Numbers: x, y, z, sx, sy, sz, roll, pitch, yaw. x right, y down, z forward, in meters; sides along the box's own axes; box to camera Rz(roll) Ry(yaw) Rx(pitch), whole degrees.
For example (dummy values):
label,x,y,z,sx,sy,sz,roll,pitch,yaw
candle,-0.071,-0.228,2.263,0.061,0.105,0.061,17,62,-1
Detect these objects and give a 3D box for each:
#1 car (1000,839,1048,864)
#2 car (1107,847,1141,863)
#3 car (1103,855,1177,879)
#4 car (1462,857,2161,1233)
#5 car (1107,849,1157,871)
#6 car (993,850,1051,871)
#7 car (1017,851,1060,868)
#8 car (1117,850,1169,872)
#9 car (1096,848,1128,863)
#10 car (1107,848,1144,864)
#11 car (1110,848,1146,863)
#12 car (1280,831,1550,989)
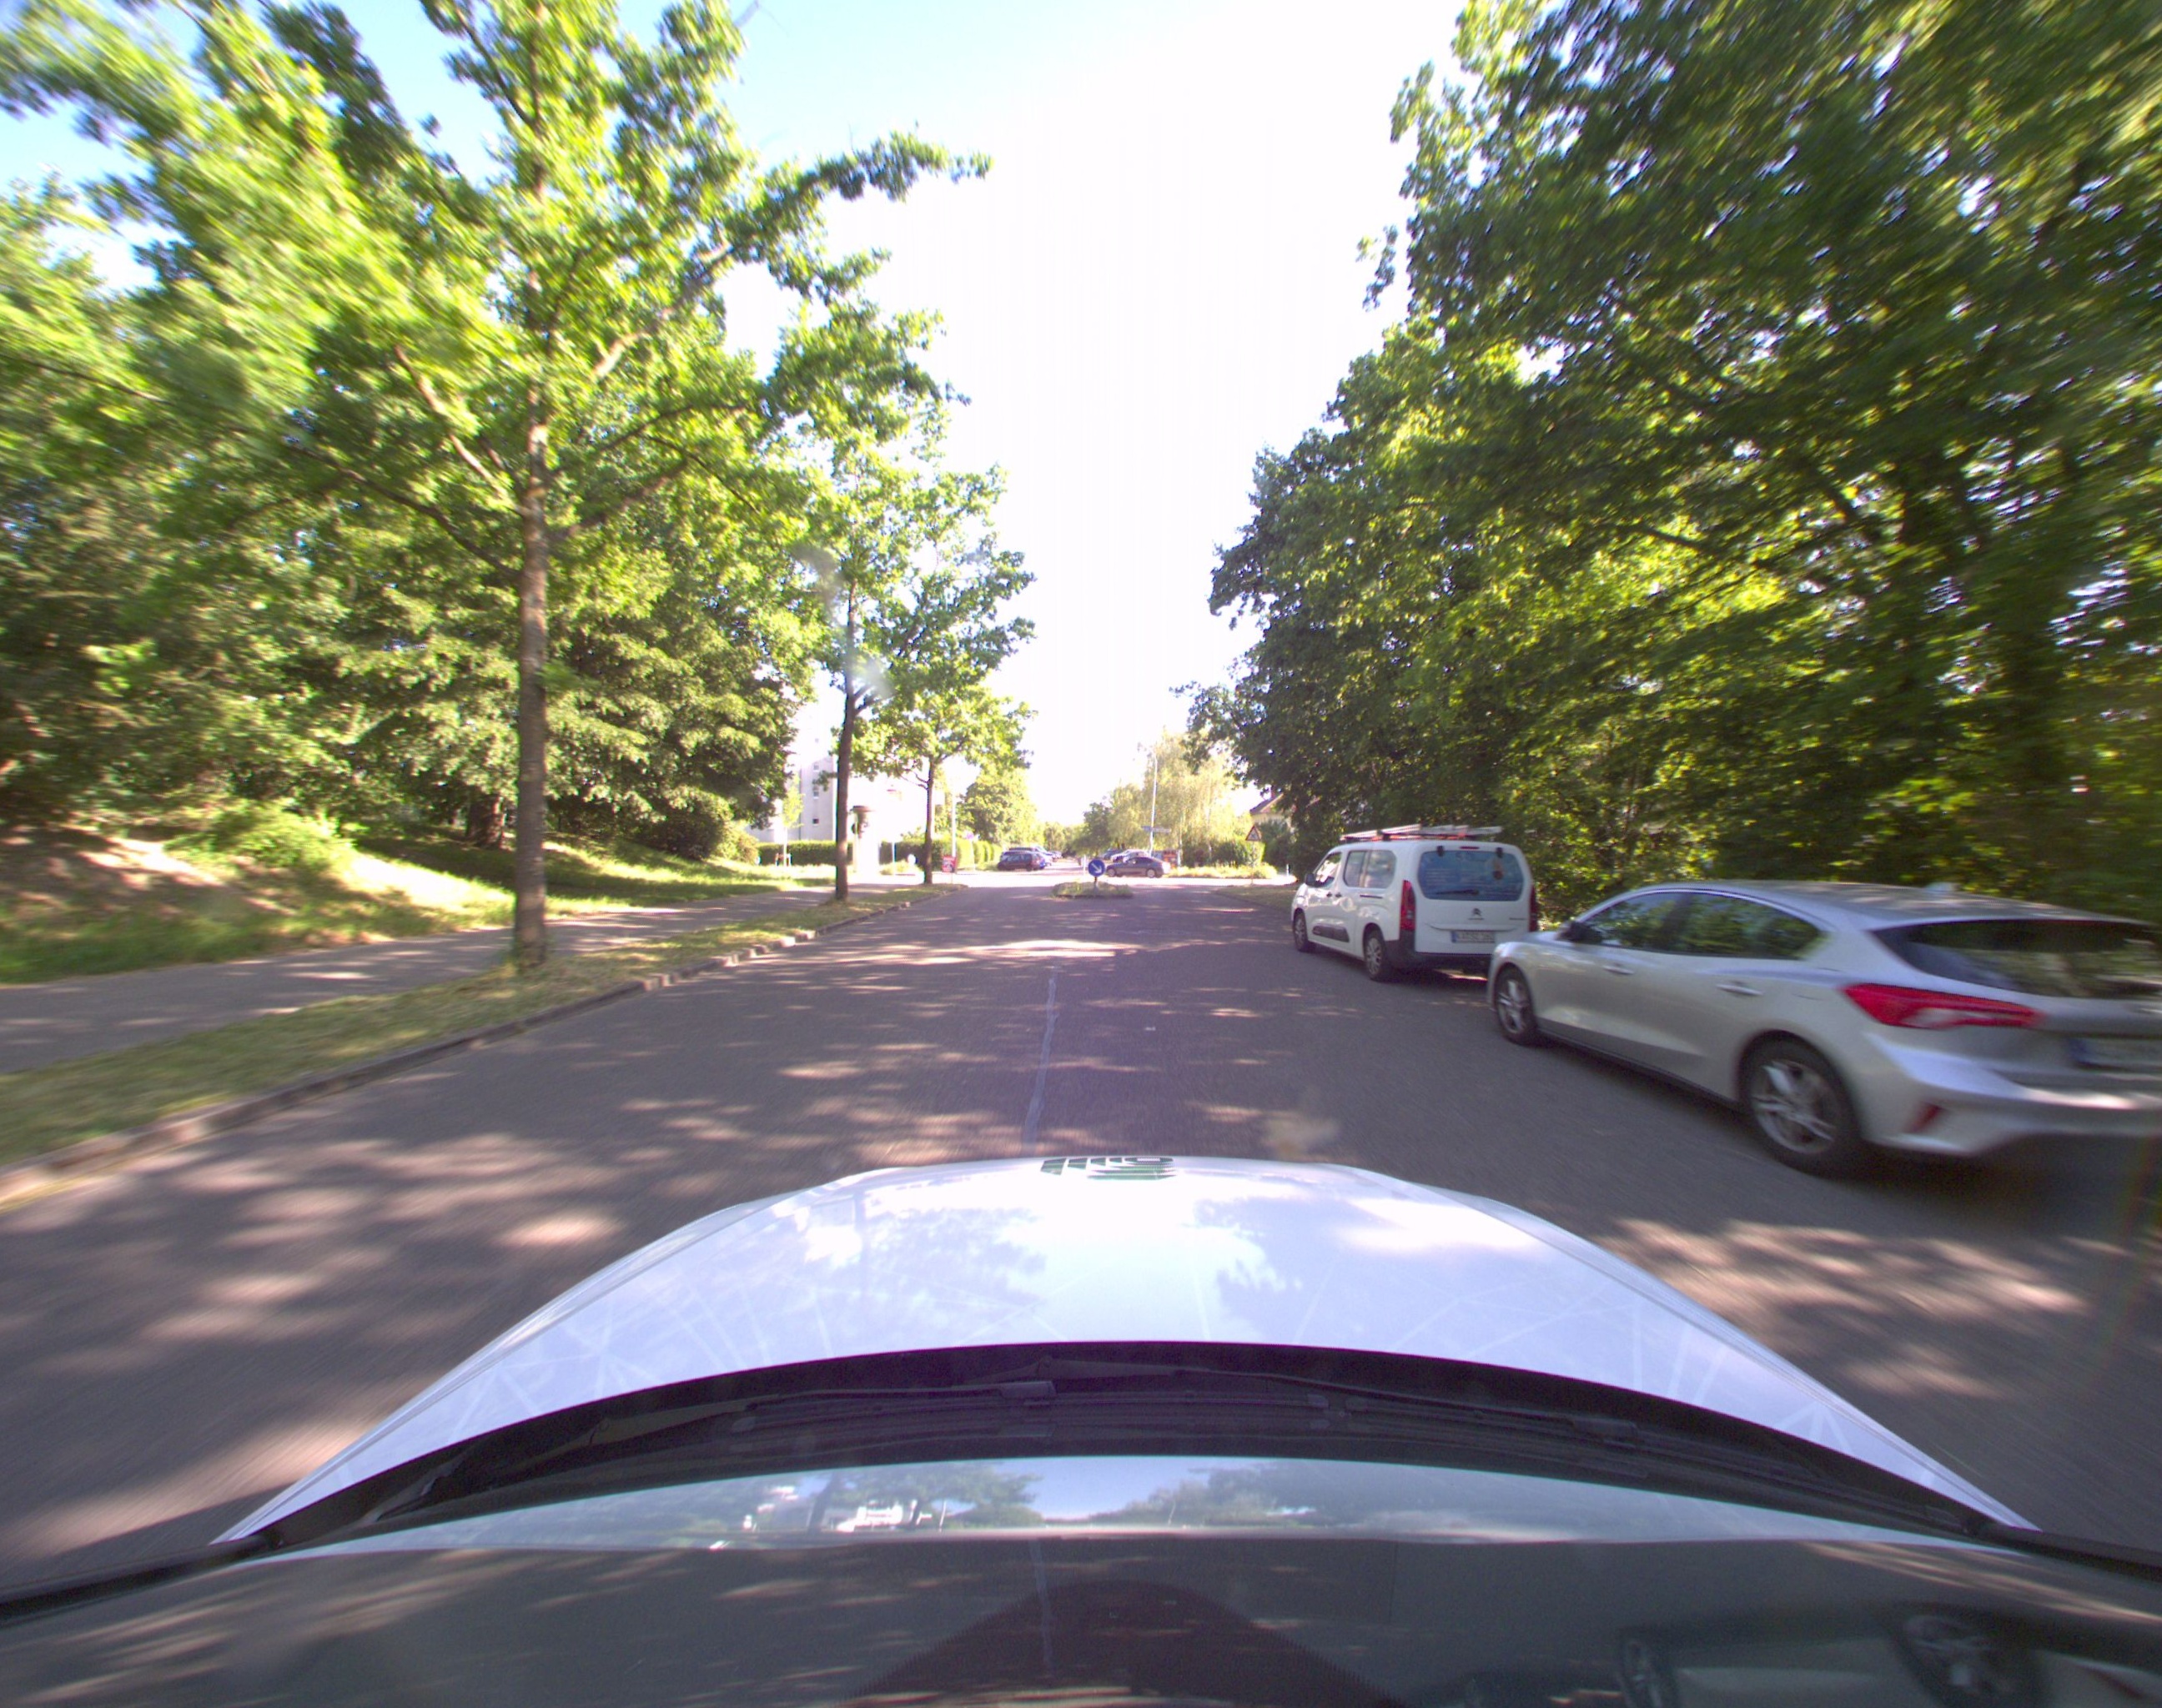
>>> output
label,x,y,z,sx,sy,sz,roll,pitch,yaw
car,-6.322,-0.285,90.771,5.191,2.621,2.290,2,0,-5
car,5.060,0.122,95.810,3.820,1.796,1.690,2,0,4
car,3.940,0.850,54.595,4.504,1.434,2.056,2,0,20
car,4.387,0.812,5.497,1.685,1.512,4.206,2,0,0
car,4.029,0.437,63.865,3.818,1.576,1.691,2,0,6
car,-4.745,0.513,65.527,4.295,1.576,2.050,2,0,6
car,-4.249,0.591,81.826,4.091,1.576,1.959,2,0,2
car,4.664,0.508,61.043,3.818,1.576,1.691,2,0,6
car,3.806,0.213,100.741,3.820,1.796,1.690,2,0,4
car,4.729,0.197,86.477,3.818,1.576,1.691,2,0,6
car,5.166,0.157,89.609,3.820,1.576,1.690,2,0,4
car,4.407,0.641,11.643,1.787,1.785,4.552,2,0,-3
